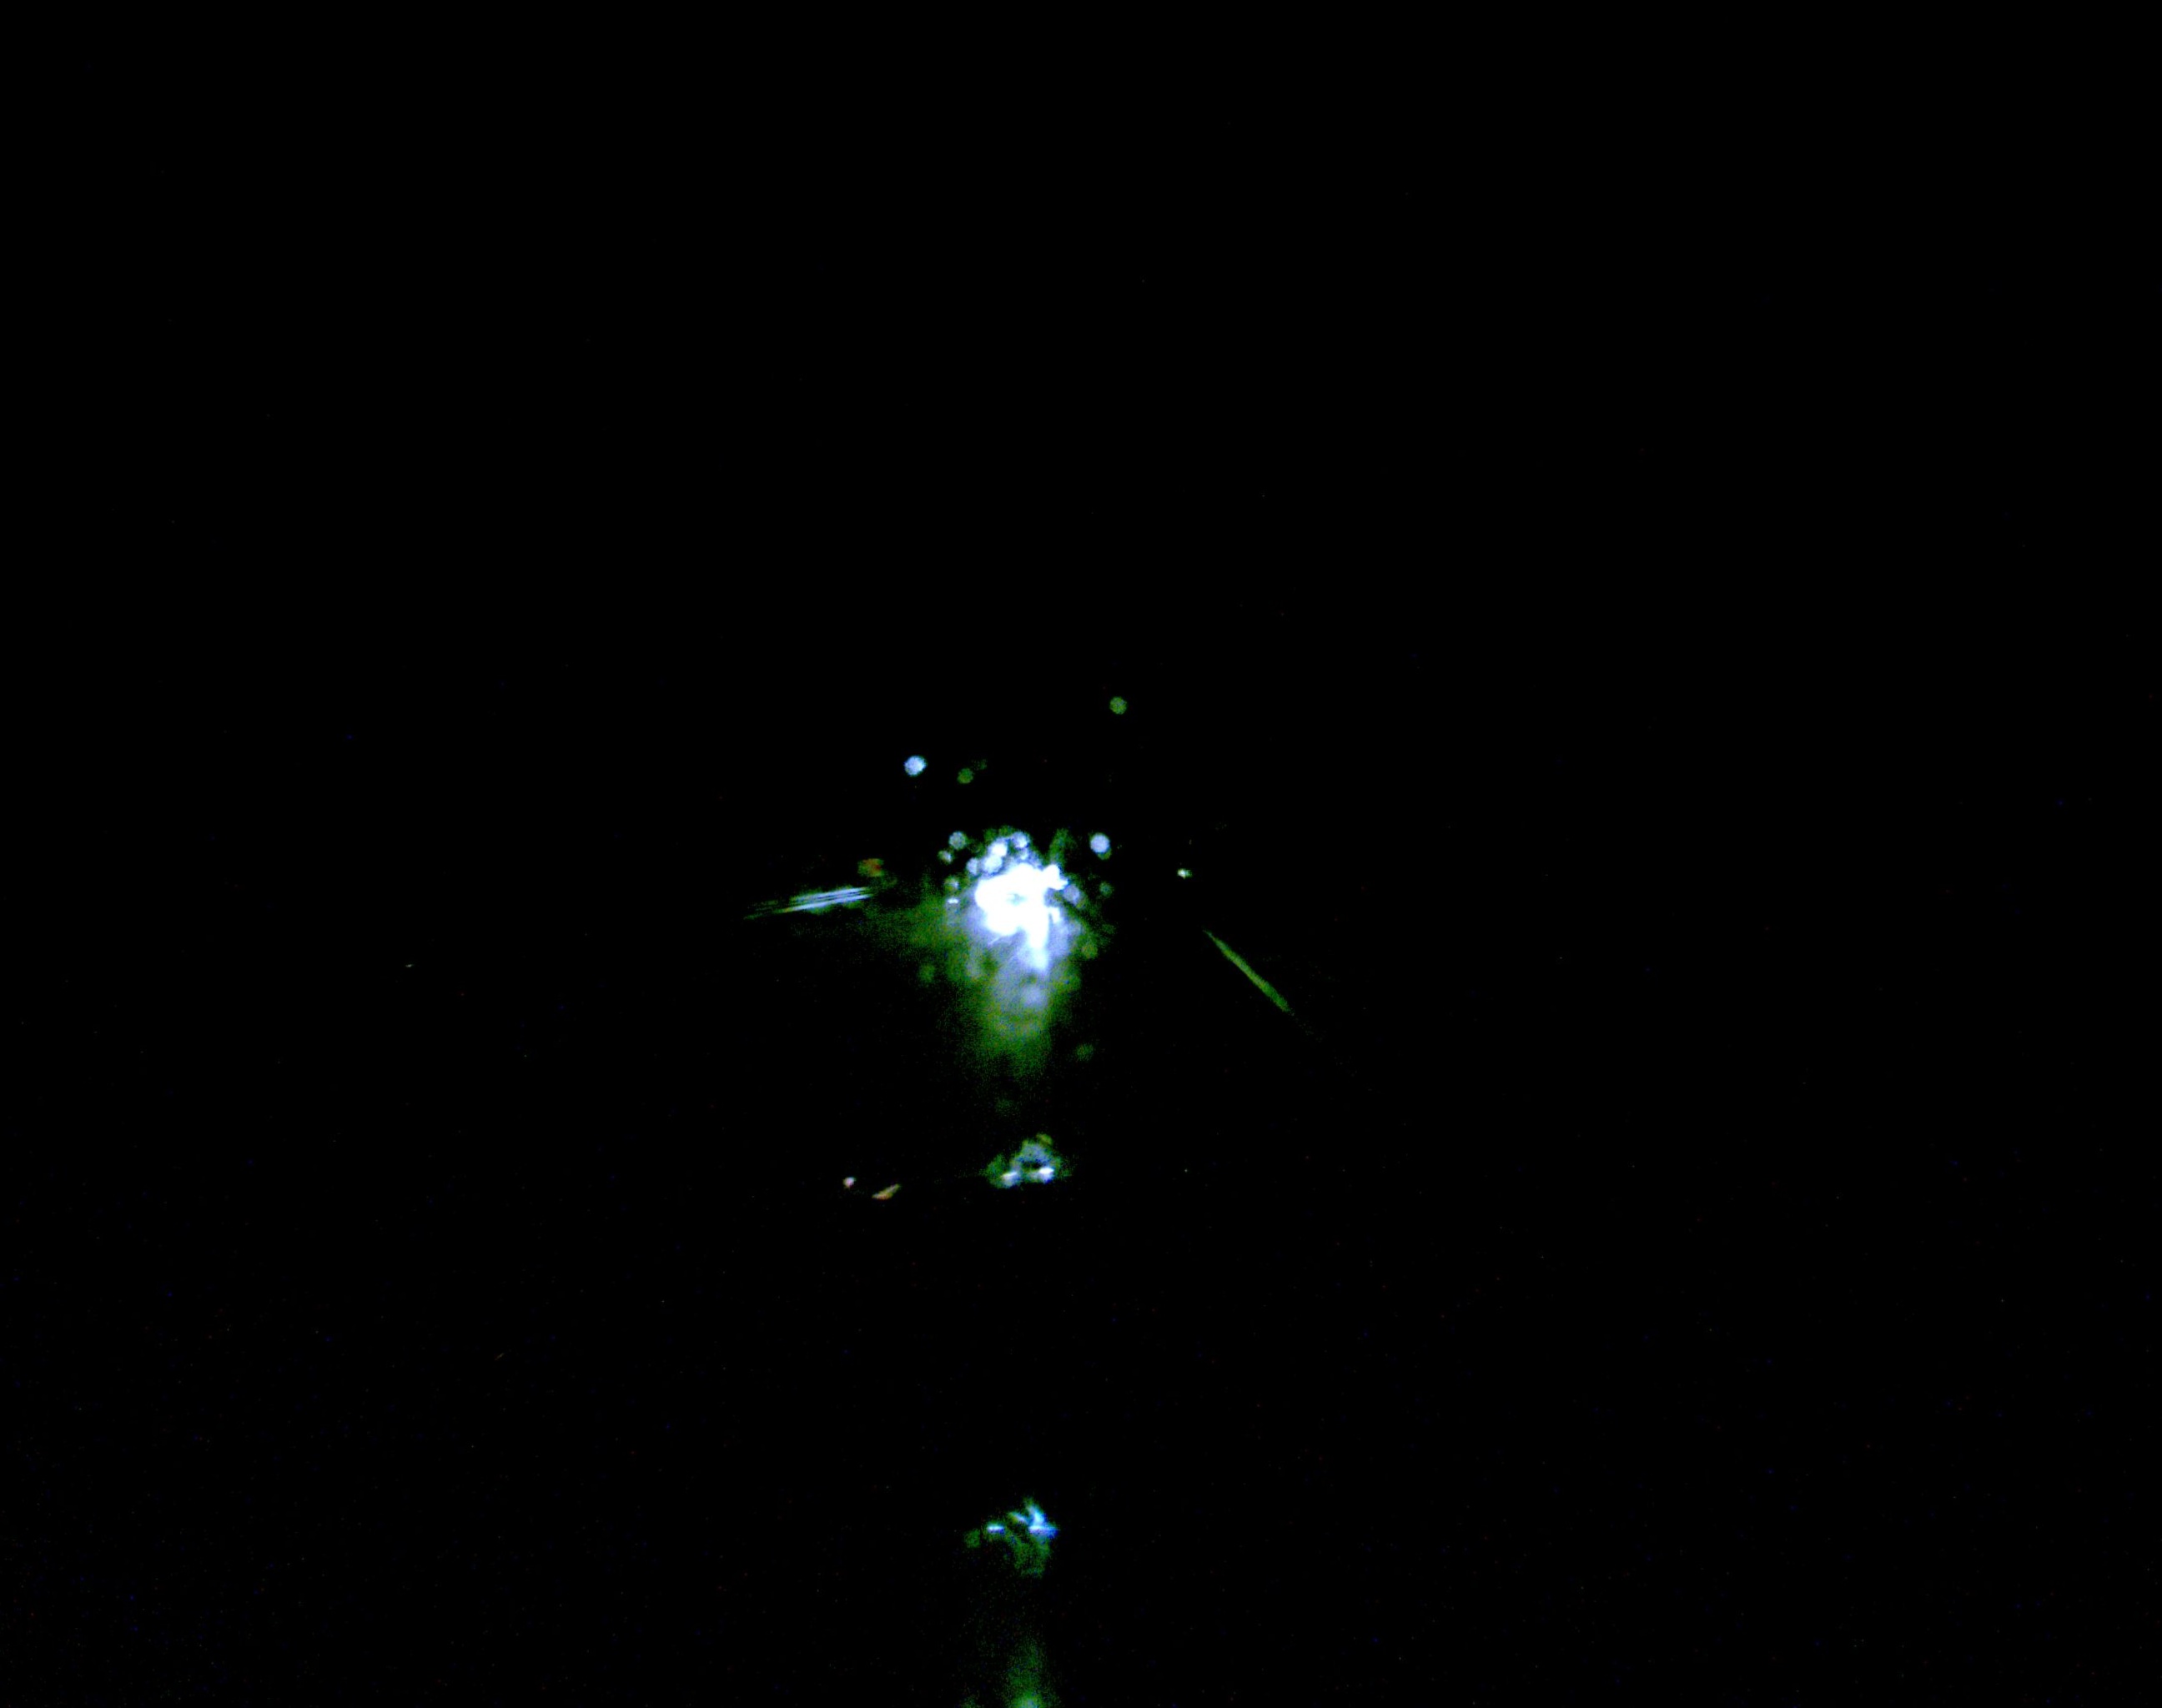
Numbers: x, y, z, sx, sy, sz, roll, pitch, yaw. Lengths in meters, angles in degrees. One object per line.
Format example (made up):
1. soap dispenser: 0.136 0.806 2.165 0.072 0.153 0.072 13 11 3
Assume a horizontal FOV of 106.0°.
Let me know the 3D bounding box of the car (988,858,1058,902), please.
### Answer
1. car: -1.939 0.856 28.501 1.985 1.411 4.002 -1 0 2
